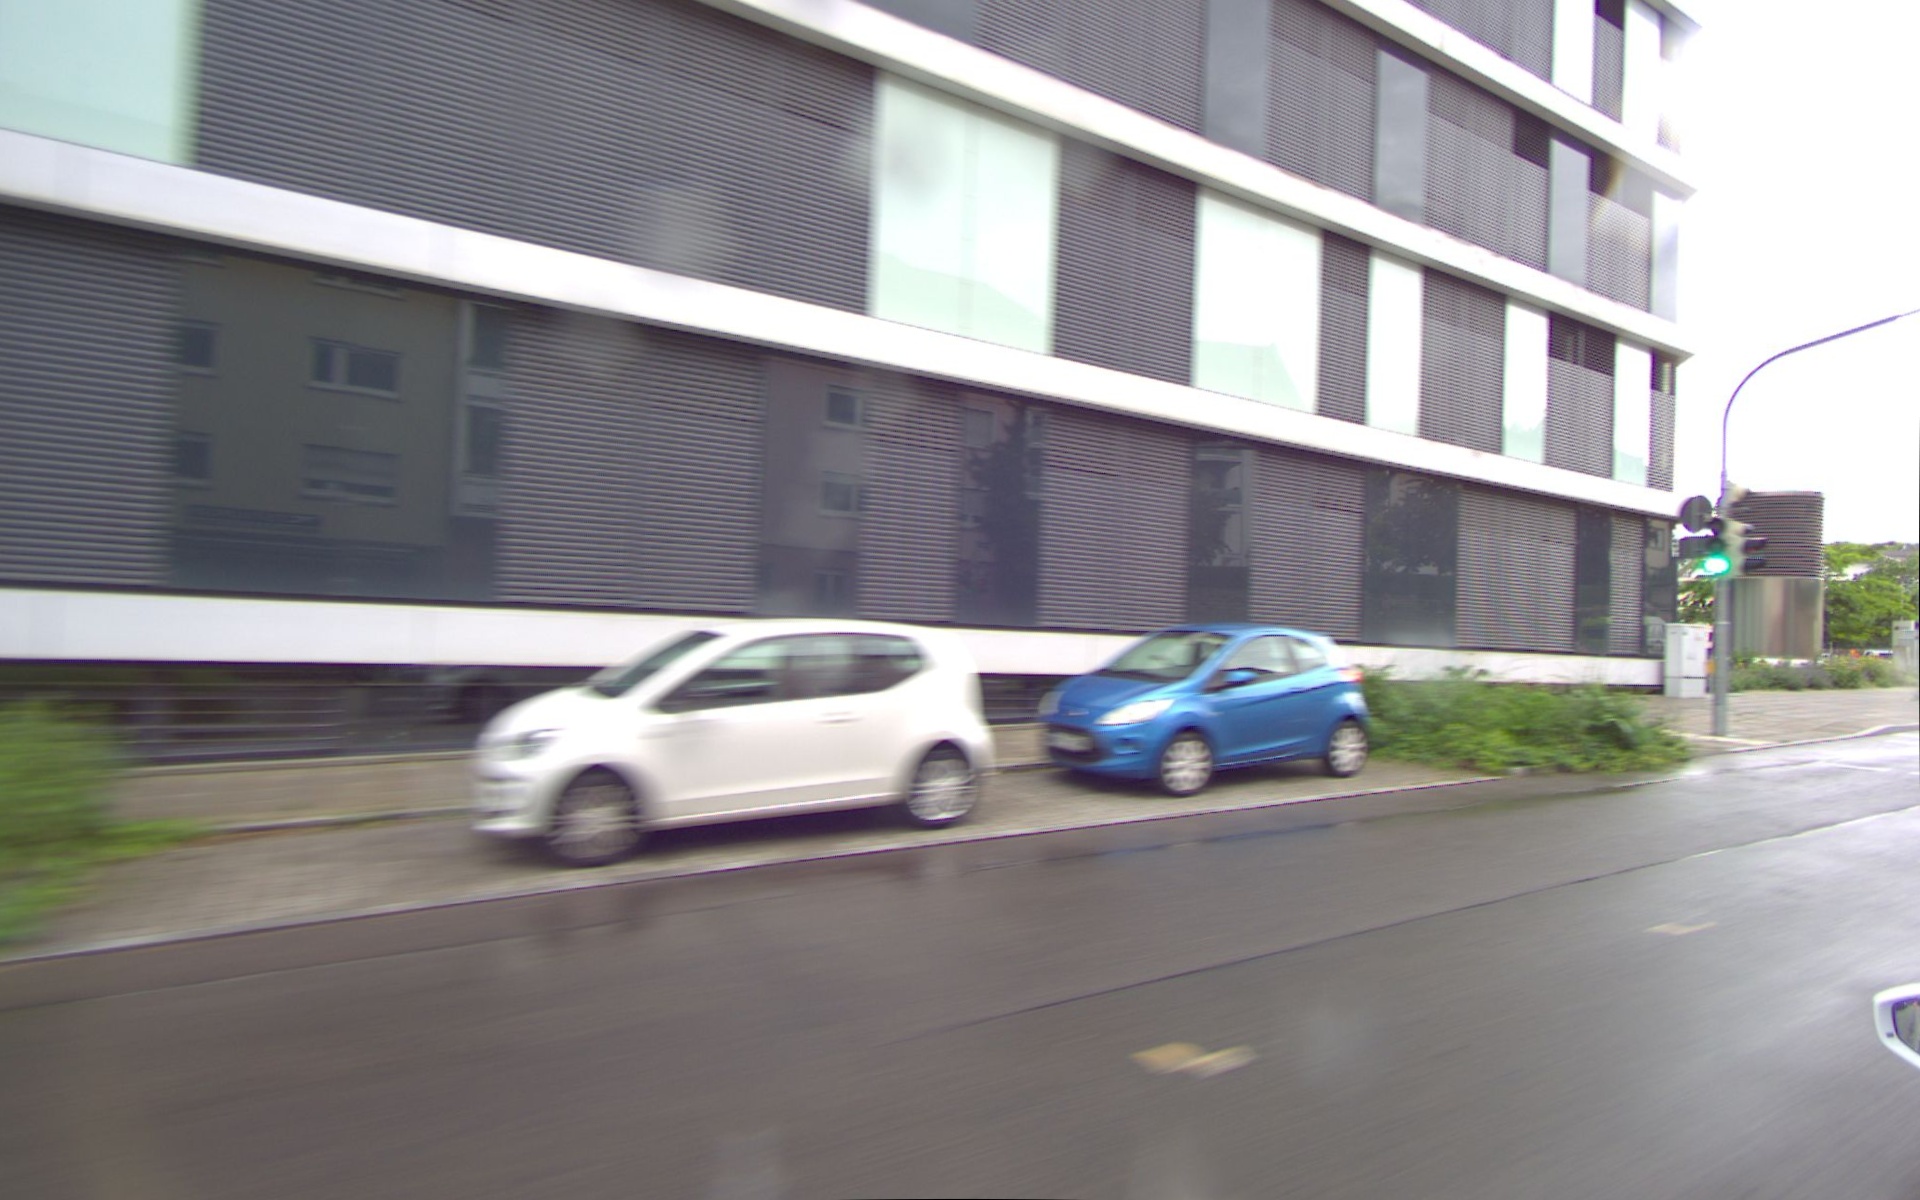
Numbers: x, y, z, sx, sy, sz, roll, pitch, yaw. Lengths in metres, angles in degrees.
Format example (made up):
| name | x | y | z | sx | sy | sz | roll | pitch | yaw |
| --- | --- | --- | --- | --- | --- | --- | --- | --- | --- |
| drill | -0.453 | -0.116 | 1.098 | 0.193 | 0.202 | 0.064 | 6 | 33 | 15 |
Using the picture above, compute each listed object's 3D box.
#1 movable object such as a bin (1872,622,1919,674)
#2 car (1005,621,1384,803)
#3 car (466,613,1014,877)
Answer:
| name | x | y | z | sx | sy | sz | roll | pitch | yaw |
| --- | --- | --- | --- | --- | --- | --- | --- | --- | --- |
| movable object such as a bin | 47.091 | 2.341 | 49.220 | 1.638 | 2.491 | 5.289 | 1 | -2 | 20 |
| car | 2.360 | 0.979 | 9.885 | 3.545 | 1.486 | 1.628 | 2 | -1 | -33 |
| car | -1.540 | 0.871 | 7.256 | 3.541 | 1.486 | 1.630 | 2 | -1 | -30 |
